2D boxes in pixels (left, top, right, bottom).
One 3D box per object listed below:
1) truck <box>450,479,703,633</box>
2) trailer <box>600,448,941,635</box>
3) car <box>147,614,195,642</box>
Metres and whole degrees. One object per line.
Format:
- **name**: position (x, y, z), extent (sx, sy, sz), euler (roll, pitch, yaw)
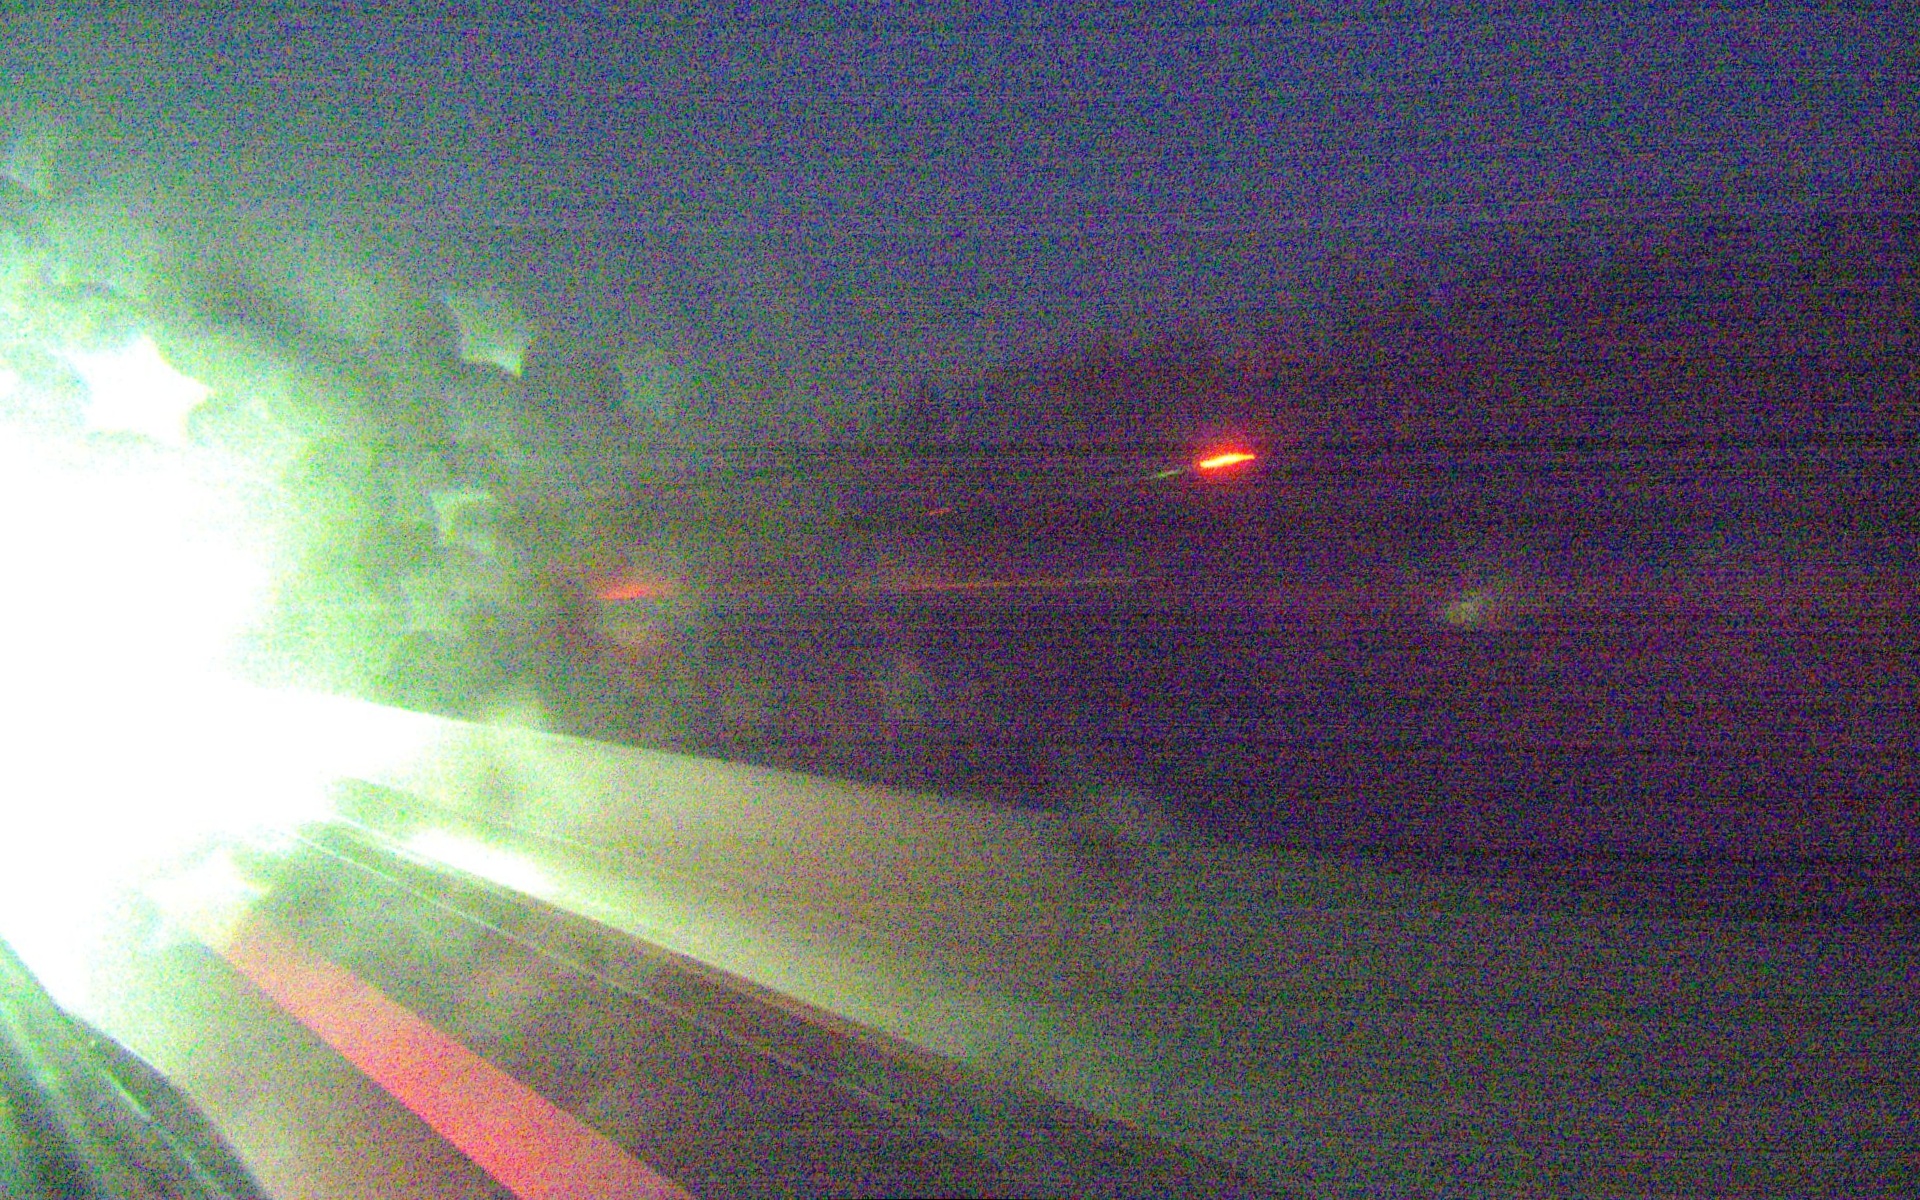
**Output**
- **truck**: position (-12.542, -1.210, 32.279), extent (10.653, 4.066, 2.917), euler (-3, 3, 44)
- **trailer**: position (-5.082, -1.232, 25.328), extent (9.496, 3.776, 2.898), euler (-3, 3, 42)
- **car**: position (-56.260, 2.001, 72.161), extent (4.000, 1.697, 1.972), euler (-3, 3, 43)
